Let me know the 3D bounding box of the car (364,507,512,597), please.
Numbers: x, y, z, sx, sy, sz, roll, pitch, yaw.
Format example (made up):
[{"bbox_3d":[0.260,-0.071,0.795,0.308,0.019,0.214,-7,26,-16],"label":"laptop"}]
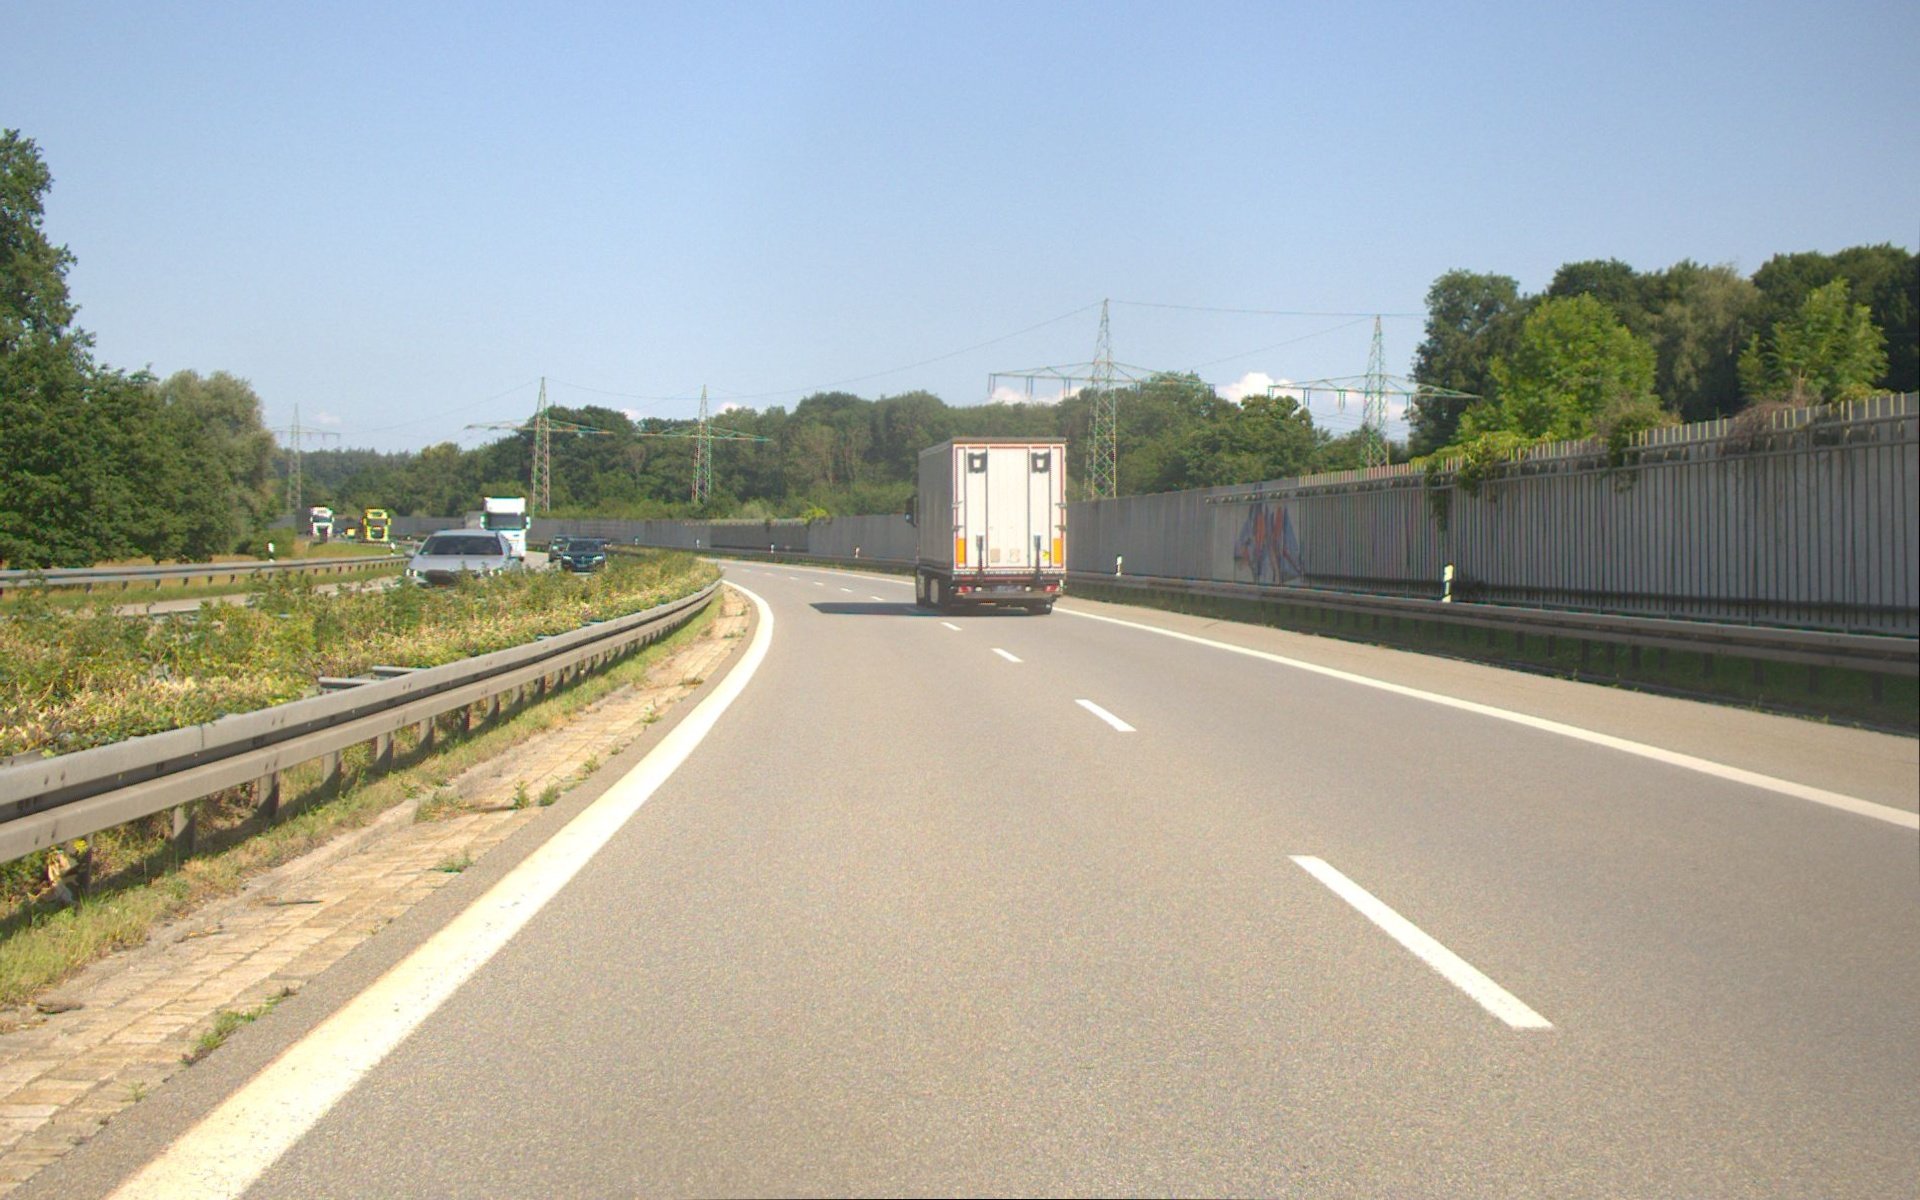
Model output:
[{"bbox_3d":[-9.040,-0.845,59.870,1.931,1.500,4.794,0,1,-1],"label":"car"}]

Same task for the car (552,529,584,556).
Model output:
[{"bbox_3d":[-23.534,-3.456,206.306,1.842,1.601,4.001,0,1,-7],"label":"car"}]

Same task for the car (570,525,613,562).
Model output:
[{"bbox_3d":[-14.738,-2.279,137.785,1.659,1.445,4.248,-1,1,-5],"label":"car"}]

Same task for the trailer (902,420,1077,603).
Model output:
[{"bbox_3d":[0.554,-2.083,82.675,2.884,4.052,12.423,0,1,-6],"label":"trailer"}]

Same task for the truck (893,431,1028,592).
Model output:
[{"bbox_3d":[-0.047,-2.252,88.644,2.830,3.998,6.588,0,1,-6],"label":"truck"}]
